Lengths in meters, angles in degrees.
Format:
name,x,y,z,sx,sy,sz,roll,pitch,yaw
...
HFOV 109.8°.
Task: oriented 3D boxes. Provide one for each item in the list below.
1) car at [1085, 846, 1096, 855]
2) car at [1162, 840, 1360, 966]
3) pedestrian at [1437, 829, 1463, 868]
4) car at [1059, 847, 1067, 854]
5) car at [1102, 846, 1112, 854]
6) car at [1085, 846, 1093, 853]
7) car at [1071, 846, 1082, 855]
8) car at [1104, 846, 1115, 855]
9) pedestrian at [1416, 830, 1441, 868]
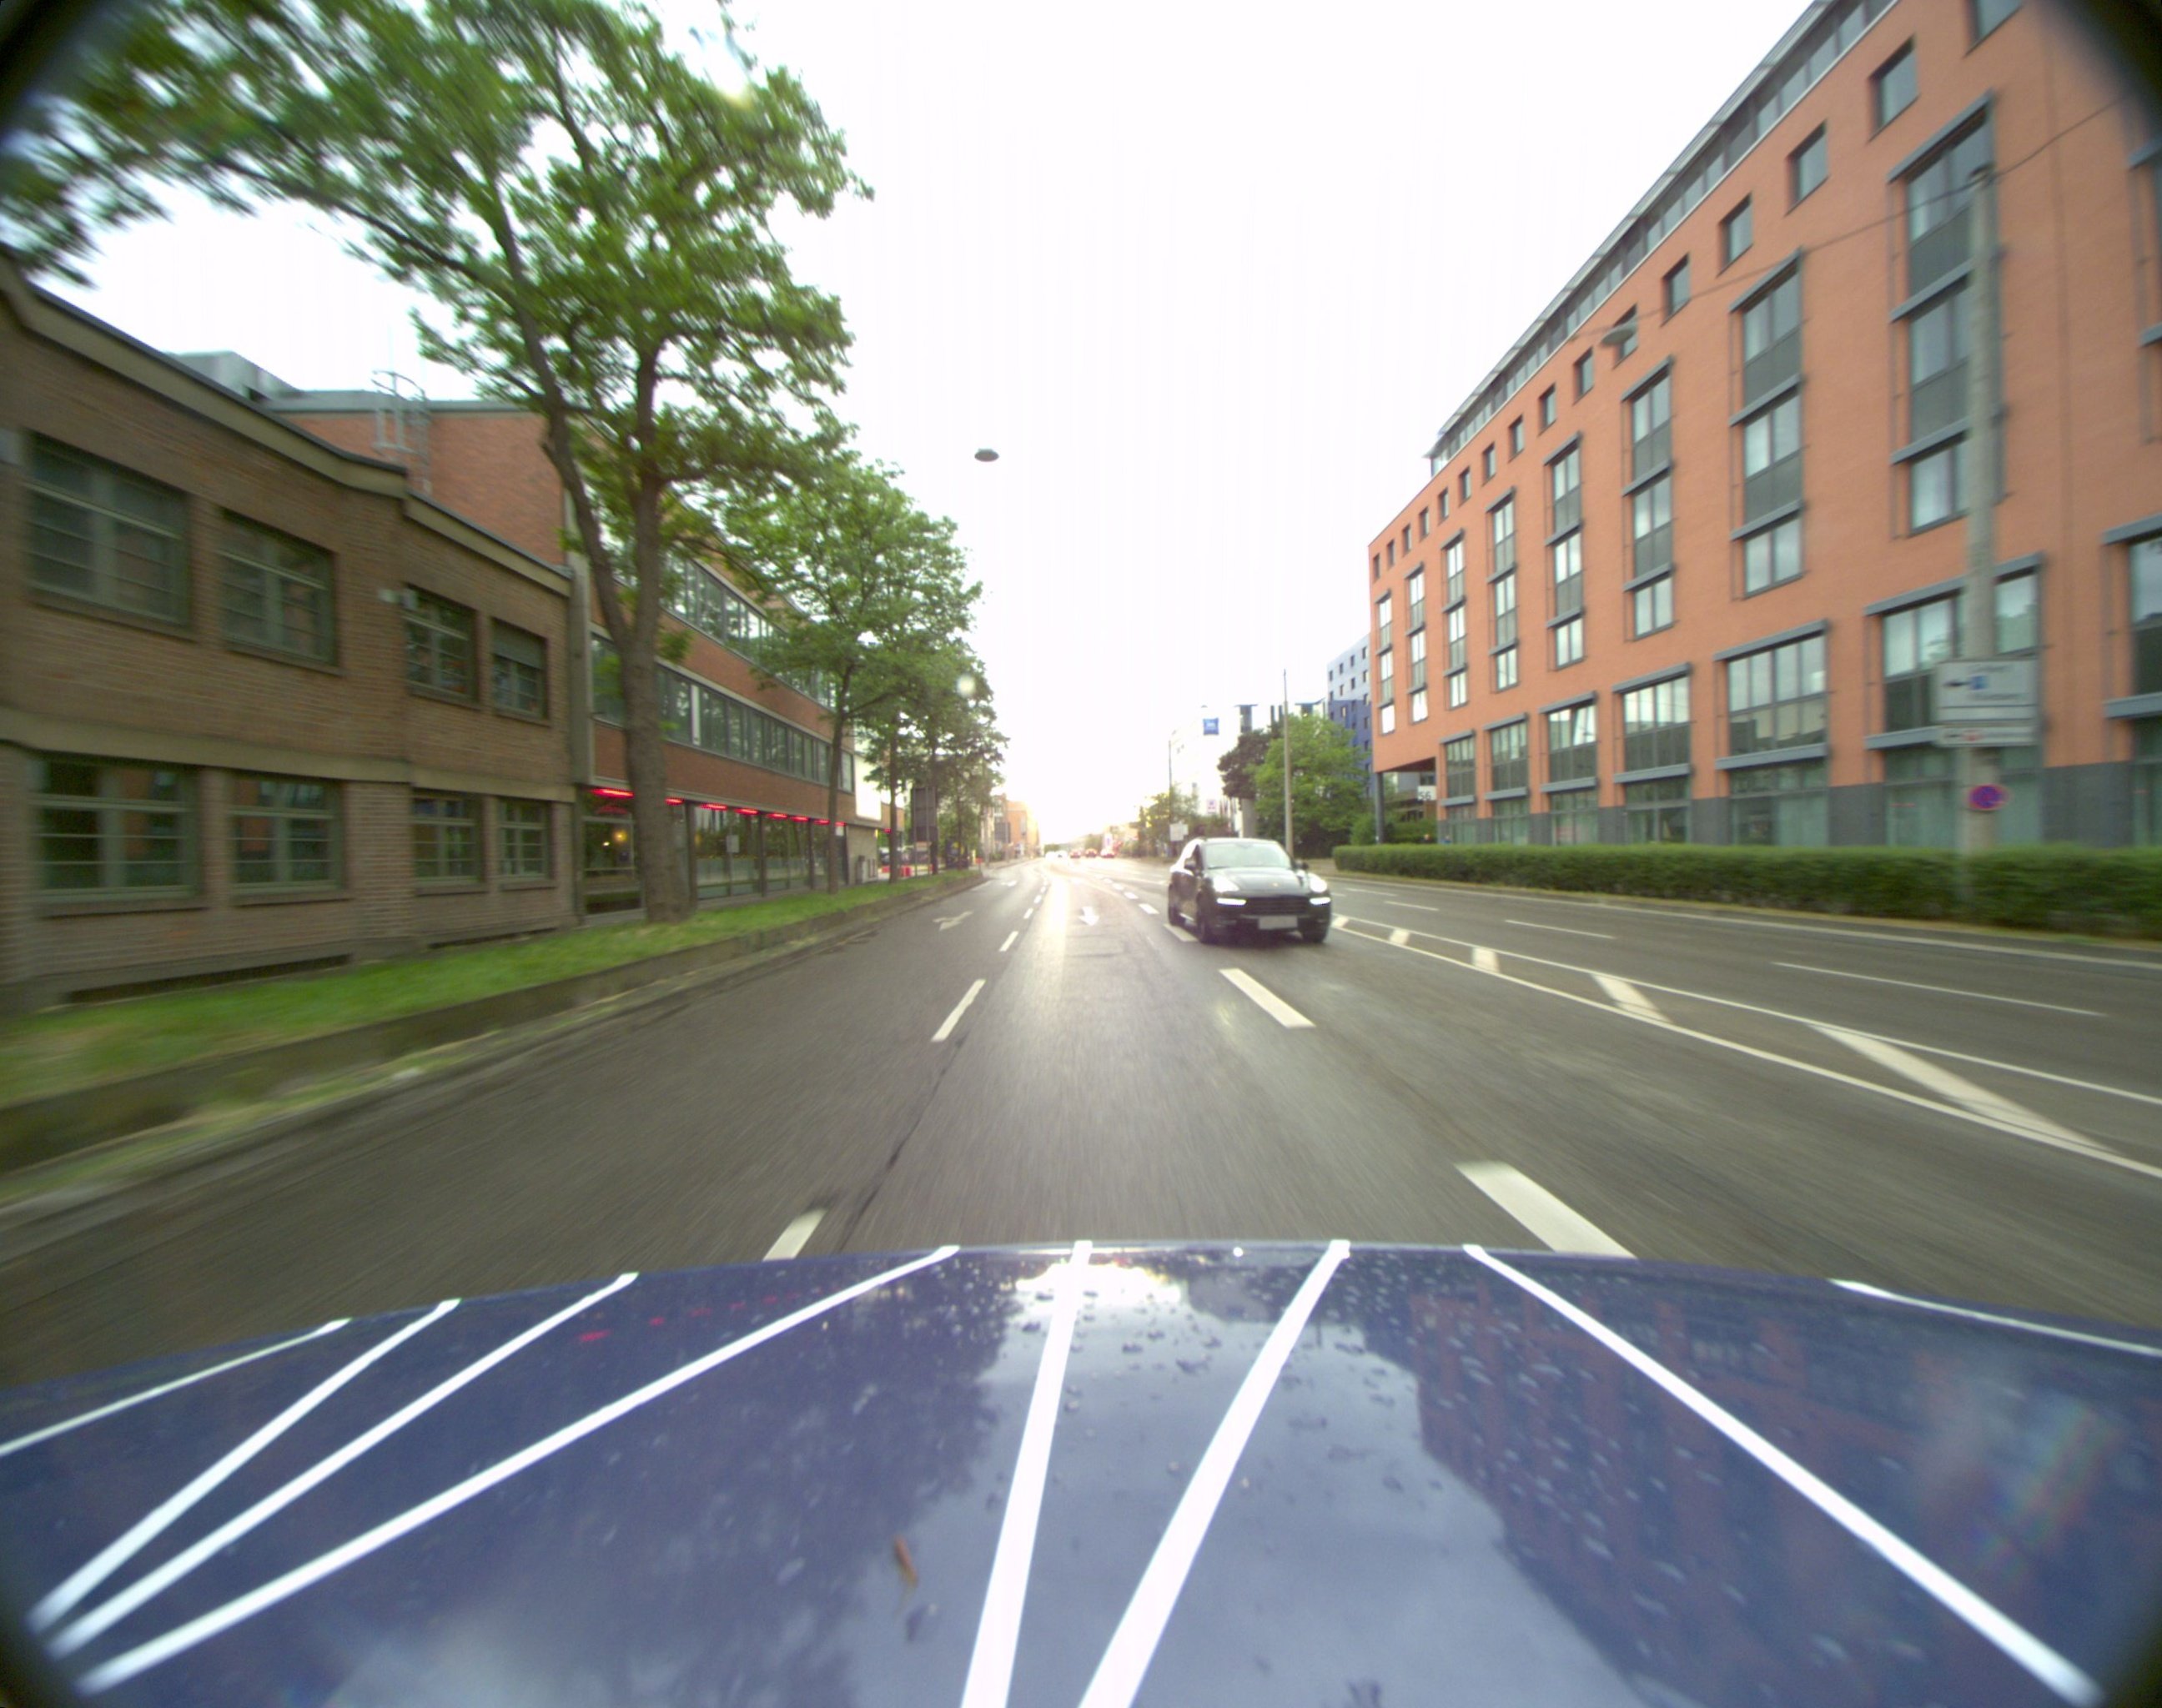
name,x,y,z,sx,sy,sz,roll,pitch,yaw
car,1.904,-0.680,149.642,1.999,1.543,3.999,-2,1,-1
car,2.727,0.639,12.966,1.999,1.656,5.423,-1,1,-1
pedestrian,18.003,-0.260,37.102,0.747,1.830,0.885,-3,1,-1
car,-3.858,-0.663,163.895,1.799,1.501,4.000,-1,0,-1
car,5.343,-0.784,157.727,1.767,1.559,3.998,0,1,-2
car,1.998,-1.104,192.033,1.999,1.543,3.999,-2,1,-1
car,-0.818,-0.630,141.971,1.999,1.543,3.999,-2,1,-1
car,5.236,-0.618,140.438,1.767,1.559,3.998,0,1,-3
pedestrian,17.117,-0.234,37.459,0.747,1.830,0.885,-3,1,-1
